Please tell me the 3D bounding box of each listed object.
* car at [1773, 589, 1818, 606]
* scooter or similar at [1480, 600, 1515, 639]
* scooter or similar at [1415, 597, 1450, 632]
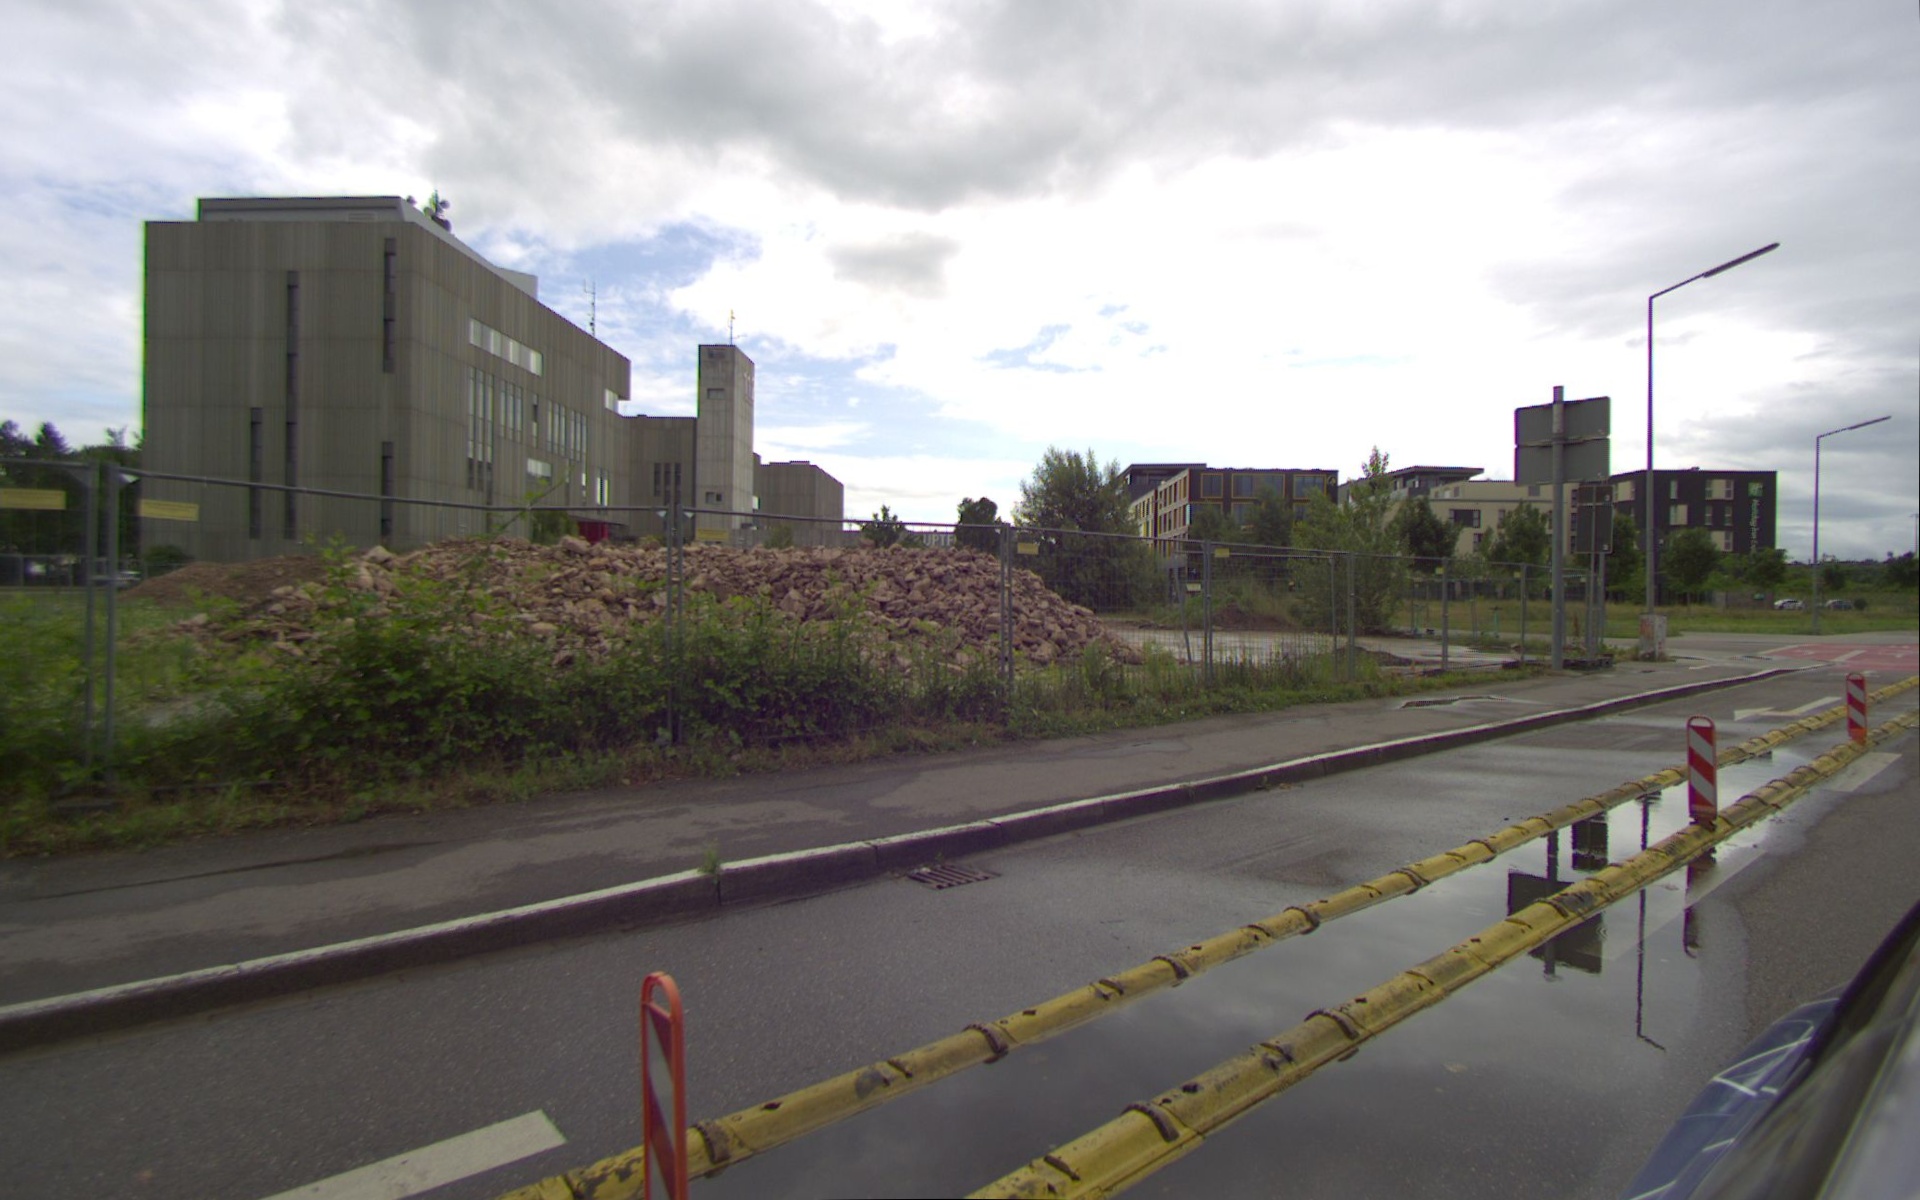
[{"bbox_3d":[105.813,-0.309,128.211,3.925,2.039,2.000,1,1,1],"label":"car"},{"bbox_3d":[17.425,0.629,32.828,0.437,1.200,1.326,1,1,0],"label":"scooter or similar"},{"bbox_3d":[16.544,0.507,35.453,0.436,1.200,1.176,1,0,-15],"label":"scooter or similar"}]
